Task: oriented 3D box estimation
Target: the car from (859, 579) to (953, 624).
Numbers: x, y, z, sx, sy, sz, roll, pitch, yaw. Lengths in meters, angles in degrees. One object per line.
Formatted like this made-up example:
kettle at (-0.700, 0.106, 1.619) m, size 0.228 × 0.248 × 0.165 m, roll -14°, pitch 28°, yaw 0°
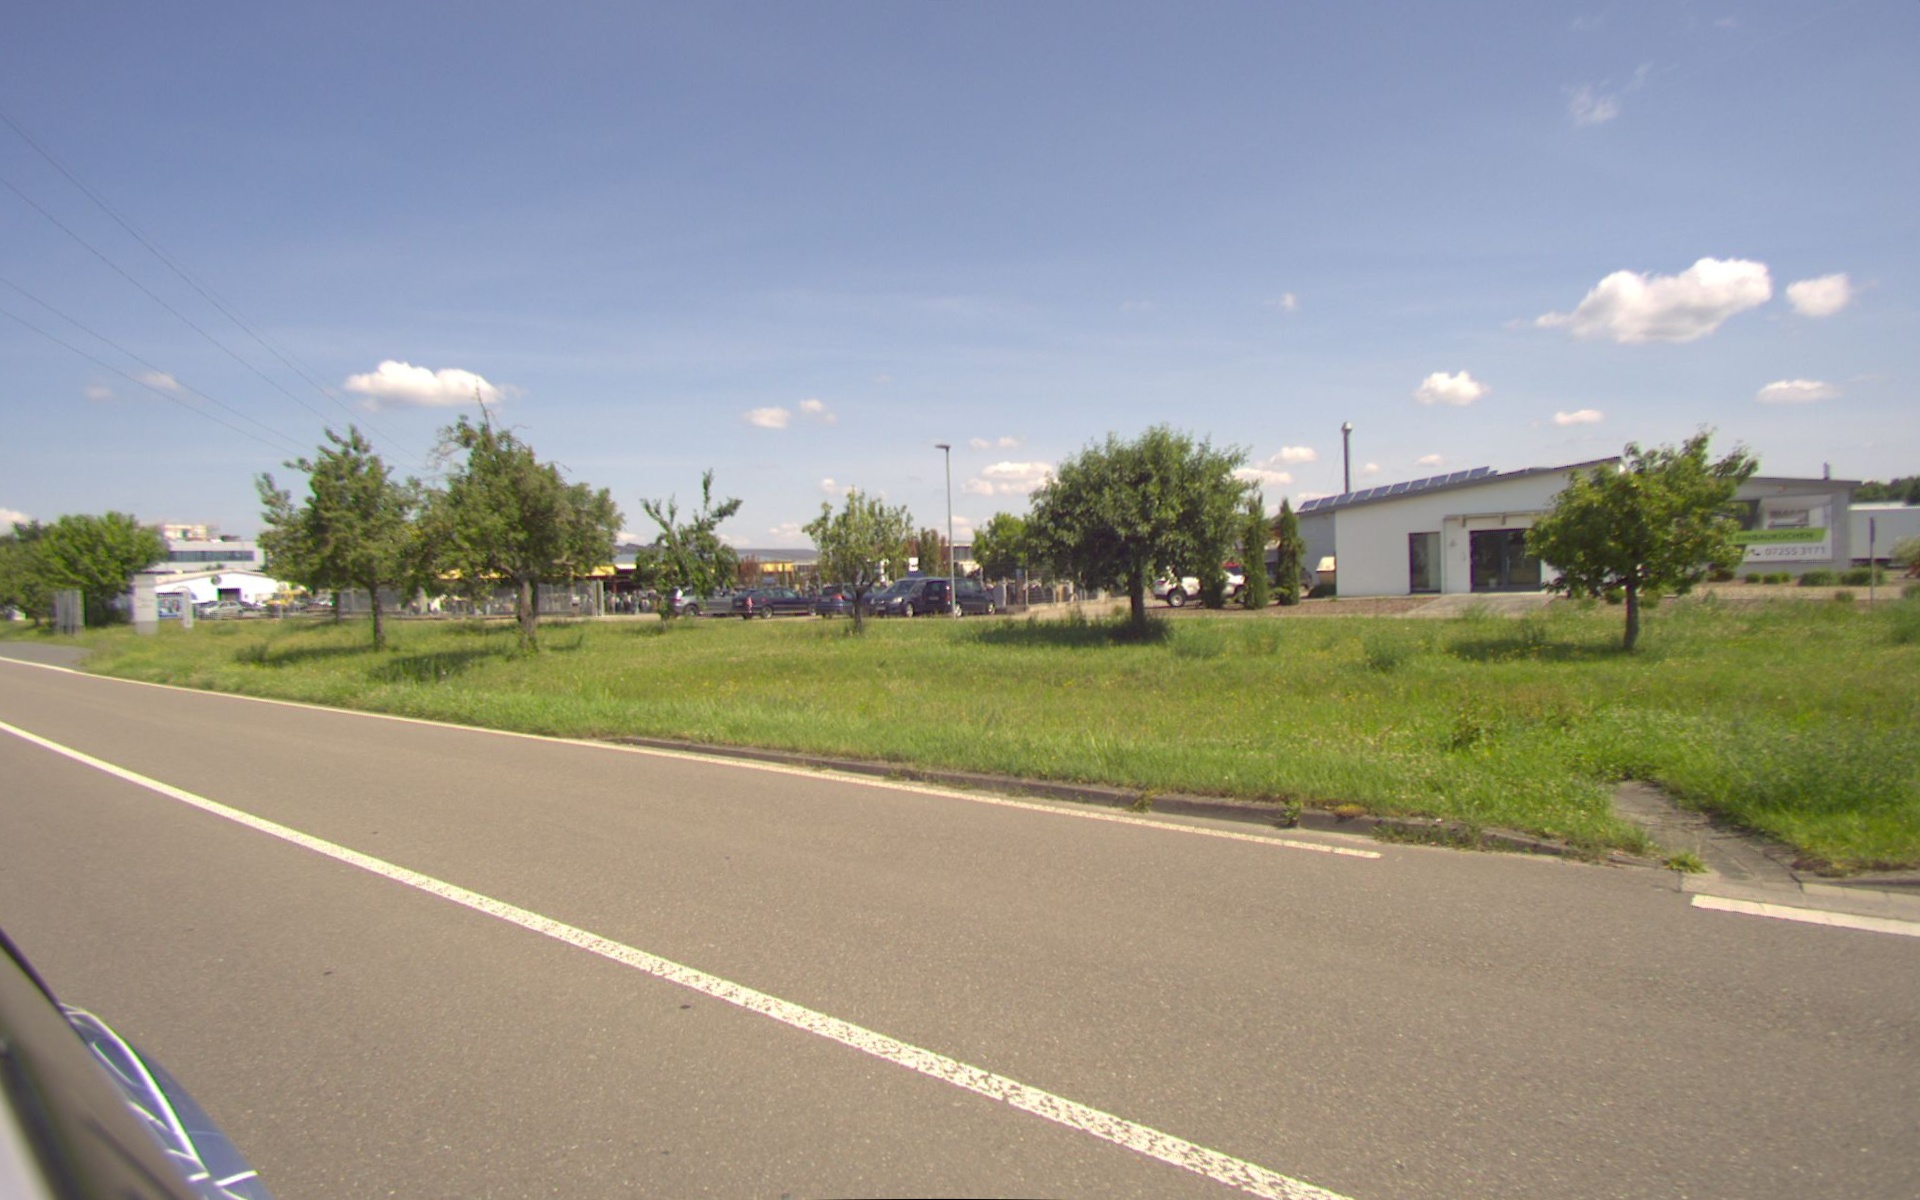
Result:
car at (-2.239, 0.049, 42.690) m, size 1.854 × 1.652 × 3.953 m, roll -2°, pitch 2°, yaw 35°

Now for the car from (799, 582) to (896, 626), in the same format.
car at (-4.775, 0.147, 43.518) m, size 1.996 × 1.652 × 3.953 m, roll -2°, pitch 1°, yaw 35°

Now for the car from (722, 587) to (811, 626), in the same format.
car at (-8.926, 0.278, 46.950) m, size 1.662 × 1.566 × 3.953 m, roll -2°, pitch 2°, yaw 35°

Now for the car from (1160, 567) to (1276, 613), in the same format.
car at (10.196, -0.411, 40.265) m, size 4.119 × 1.652 × 1.997 m, roll -2°, pitch 1°, yaw 6°

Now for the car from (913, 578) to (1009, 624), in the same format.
car at (0.083, 0.017, 41.320) m, size 1.996 × 1.652 × 3.953 m, roll -2°, pitch 1°, yaw 35°

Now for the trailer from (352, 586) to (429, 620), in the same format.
trailer at (-52.581, 0.289, 93.549) m, size 2.734 × 2.846 × 5.516 m, roll -2°, pitch 2°, yaw 34°

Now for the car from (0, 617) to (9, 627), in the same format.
car at (-149.529, 3.423, 156.125) m, size 2.000 × 1.530 × 3.943 m, roll 0°, pitch 2°, yaw 44°

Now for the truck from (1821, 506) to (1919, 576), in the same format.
truck at (47.227, -2.961, 49.768) m, size 7.176 × 3.237 × 1.976 m, roll -2°, pitch 1°, yaw 36°

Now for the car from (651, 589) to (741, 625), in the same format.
car at (-13.069, 0.325, 50.288) m, size 1.996 × 1.539 × 3.953 m, roll -2°, pitch 2°, yaw 35°

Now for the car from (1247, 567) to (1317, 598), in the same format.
car at (17.444, -0.952, 54.721) m, size 2.000 × 1.495 × 4.111 m, roll -1°, pitch 2°, yaw 43°
